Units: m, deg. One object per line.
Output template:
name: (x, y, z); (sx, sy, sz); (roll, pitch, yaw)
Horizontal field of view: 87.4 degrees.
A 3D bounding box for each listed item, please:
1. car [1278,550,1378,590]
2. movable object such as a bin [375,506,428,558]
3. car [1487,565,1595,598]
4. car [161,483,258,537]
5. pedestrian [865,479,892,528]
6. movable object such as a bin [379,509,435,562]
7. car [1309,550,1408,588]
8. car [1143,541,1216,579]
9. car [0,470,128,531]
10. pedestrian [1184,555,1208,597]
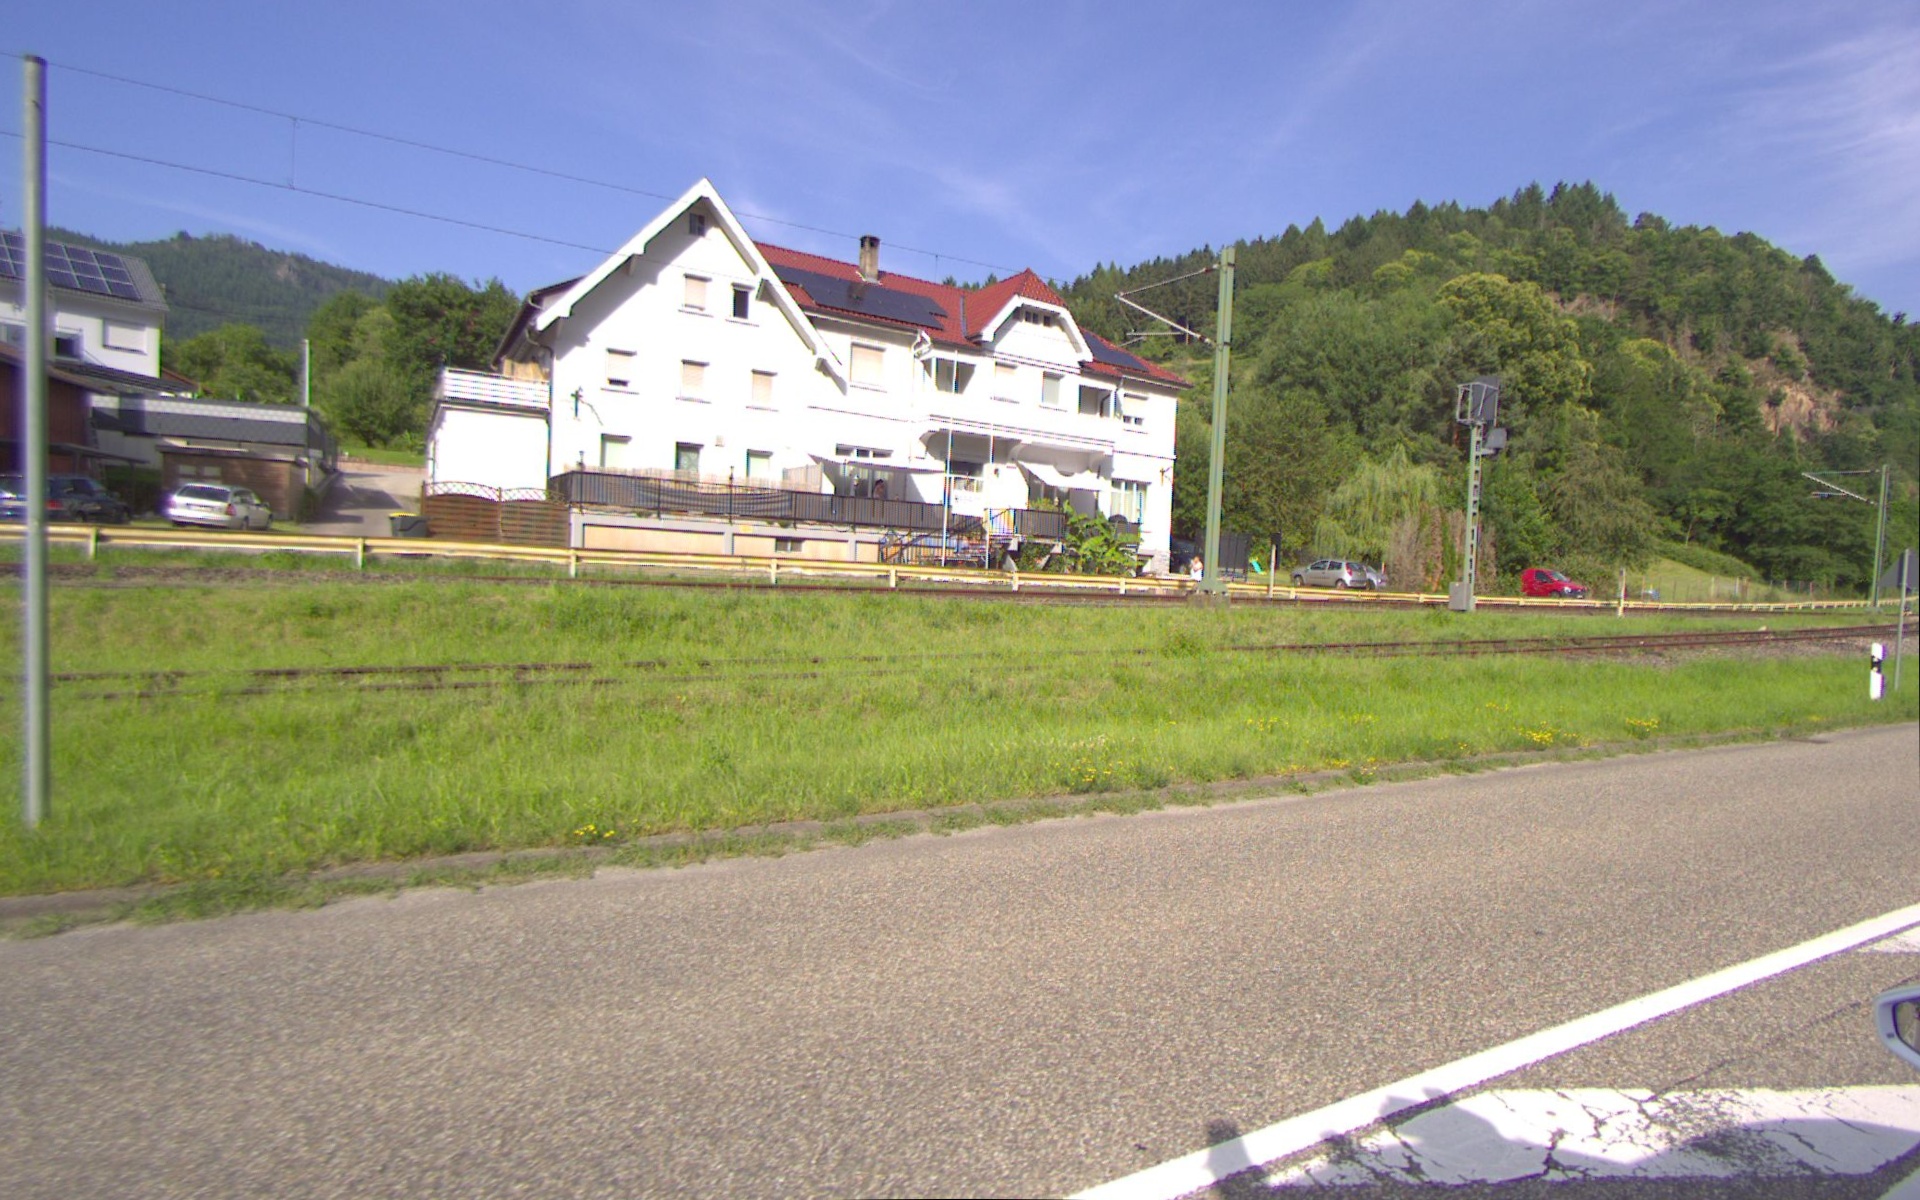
car: (17.637, -1.466, 48.300); (1.977, 1.714, 4.122); (1, 2, -31)
movable object such as a bin: (-14.193, -1.716, 25.512); (1.130, 1.208, 1.084); (1, 3, -31)
car: (34.240, -1.111, 59.375); (2.426, 1.714, 4.942); (2, 2, -28)
car: (-21.896, -2.577, 29.439); (1.734, 1.347, 4.232); (1, 2, -30)
pedestrian: (-2.816, -3.316, 34.737); (0.670, 1.638, 0.603); (1, 3, -32)
movable object such as a bin: (-13.531, -1.575, 24.564); (1.130, 1.208, 1.084); (1, 3, -31)
car: (19.541, -1.532, 49.427); (1.977, 1.714, 4.122); (1, 2, -31)
car: (12.289, -2.265, 56.418); (1.797, 1.814, 3.970); (1, 5, -28)
car: (-22.563, -2.434, 25.092); (1.713, 1.288, 4.082); (1, 2, -25)
pedestrian: (9.451, -0.956, 40.283); (0.667, 1.638, 0.606); (4, 3, 36)
